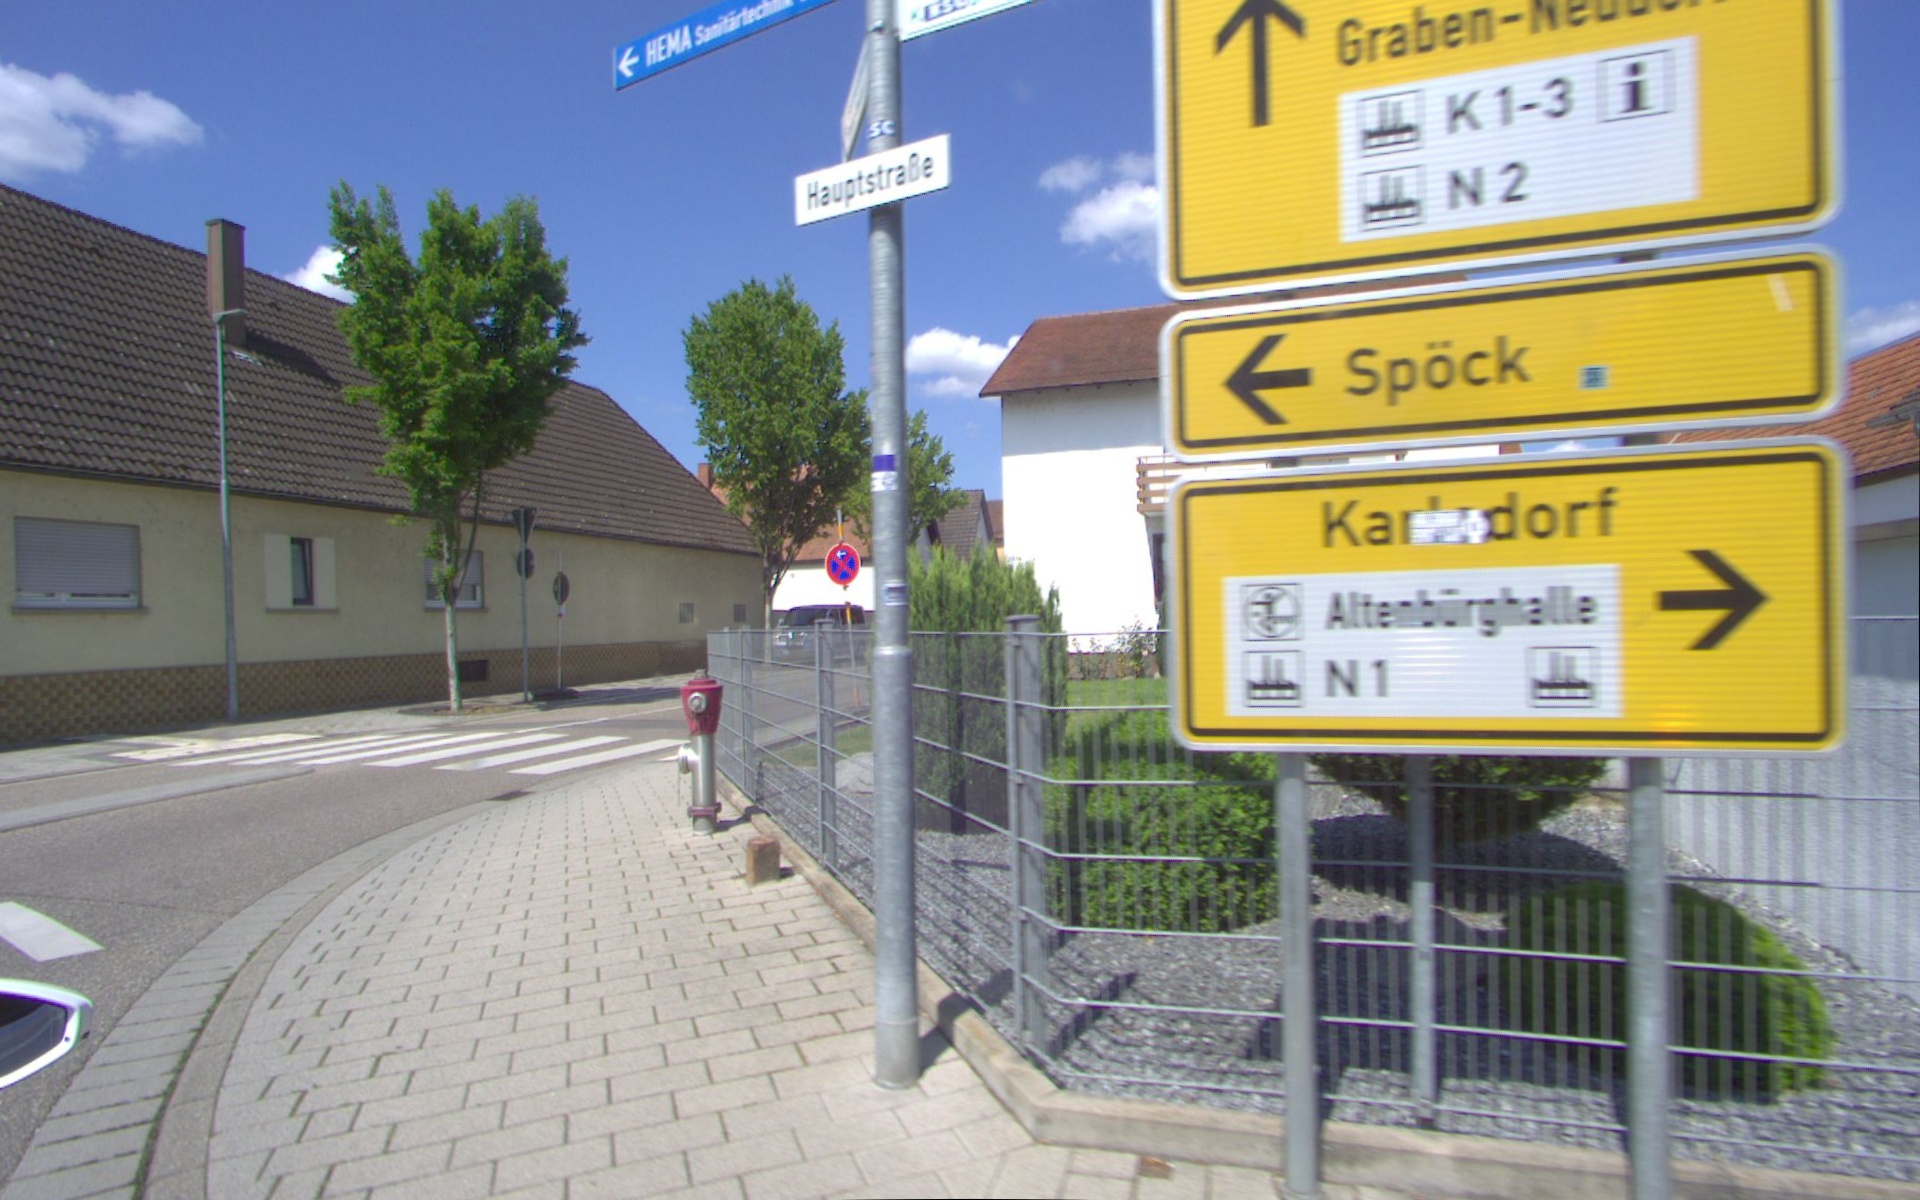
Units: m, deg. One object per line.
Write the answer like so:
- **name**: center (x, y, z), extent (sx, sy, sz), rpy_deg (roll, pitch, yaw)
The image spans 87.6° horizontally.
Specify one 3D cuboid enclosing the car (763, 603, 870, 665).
- **car**: center (-4.767, 1.097, 33.991), extent (1.963, 1.964, 4.473), rpy_deg (0, 0, 15)
